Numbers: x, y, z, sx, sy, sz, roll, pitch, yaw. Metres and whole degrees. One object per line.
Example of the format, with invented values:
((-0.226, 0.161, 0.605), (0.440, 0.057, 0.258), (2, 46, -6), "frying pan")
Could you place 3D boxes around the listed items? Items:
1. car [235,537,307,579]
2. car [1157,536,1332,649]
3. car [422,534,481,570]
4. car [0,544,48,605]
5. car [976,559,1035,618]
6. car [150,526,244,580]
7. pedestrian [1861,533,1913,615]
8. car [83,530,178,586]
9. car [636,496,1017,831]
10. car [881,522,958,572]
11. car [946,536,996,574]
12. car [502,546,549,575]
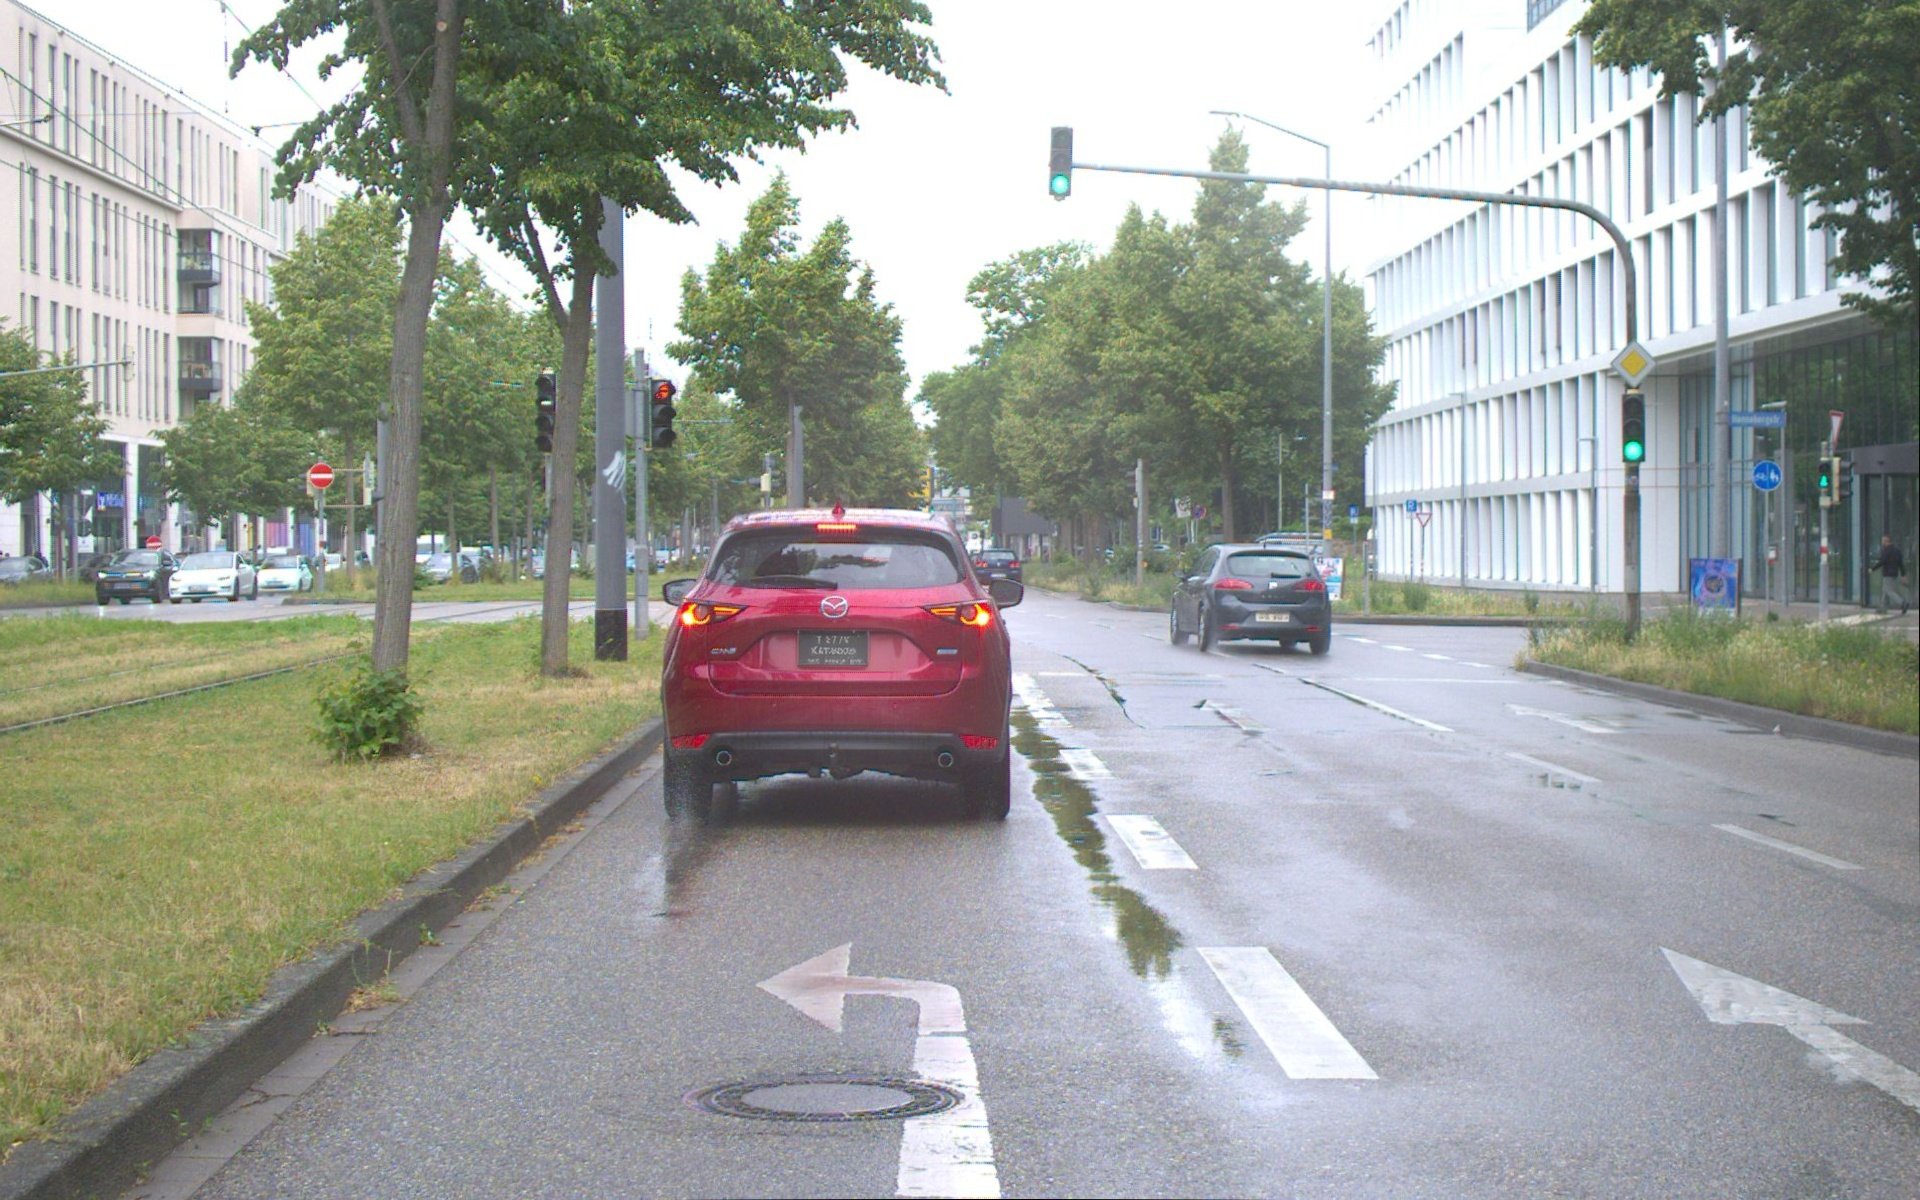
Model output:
((-24.922, -1.518, 124.515), (1.993, 1.479, 4.446), (0, 1, -4), "car")
((3.835, -0.126, 46.857), (1.743, 1.460, 3.782), (0, 1, -5), "car")
((-21.393, -2.015, 144.757), (1.993, 1.479, 4.446), (0, 1, -2), "car")
((-30.181, -0.827, 108.185), (1.993, 1.831, 4.000), (0, 1, -1), "car")
((1.600, -0.424, 122.567), (1.993, 2.007, 4.000), (0, 1, -1), "car")
((-21.511, -1.341, 97.051), (1.993, 1.479, 4.446), (0, 1, -5), "car")
((19.461, -0.546, 72.192), (0.677, 1.701, 0.784), (0, 1, -39), "pedestrian")
((-24.604, -1.265, 102.096), (1.993, 1.612, 4.001), (0, 1, -2), "car")
((-0.714, 0.280, 19.249), (1.898, 1.671, 4.000), (0, 1, -1), "car")
((-1.244, -1.610, 104.111), (1.967, 1.432, 4.553), (1, 1, -5), "car")
((0.424, -1.876, 141.335), (1.993, 1.526, 4.000), (0, 1, -1), "car")
((-23.054, -2.094, 182.328), (1.993, 1.479, 4.446), (0, 1, -1), "car")
